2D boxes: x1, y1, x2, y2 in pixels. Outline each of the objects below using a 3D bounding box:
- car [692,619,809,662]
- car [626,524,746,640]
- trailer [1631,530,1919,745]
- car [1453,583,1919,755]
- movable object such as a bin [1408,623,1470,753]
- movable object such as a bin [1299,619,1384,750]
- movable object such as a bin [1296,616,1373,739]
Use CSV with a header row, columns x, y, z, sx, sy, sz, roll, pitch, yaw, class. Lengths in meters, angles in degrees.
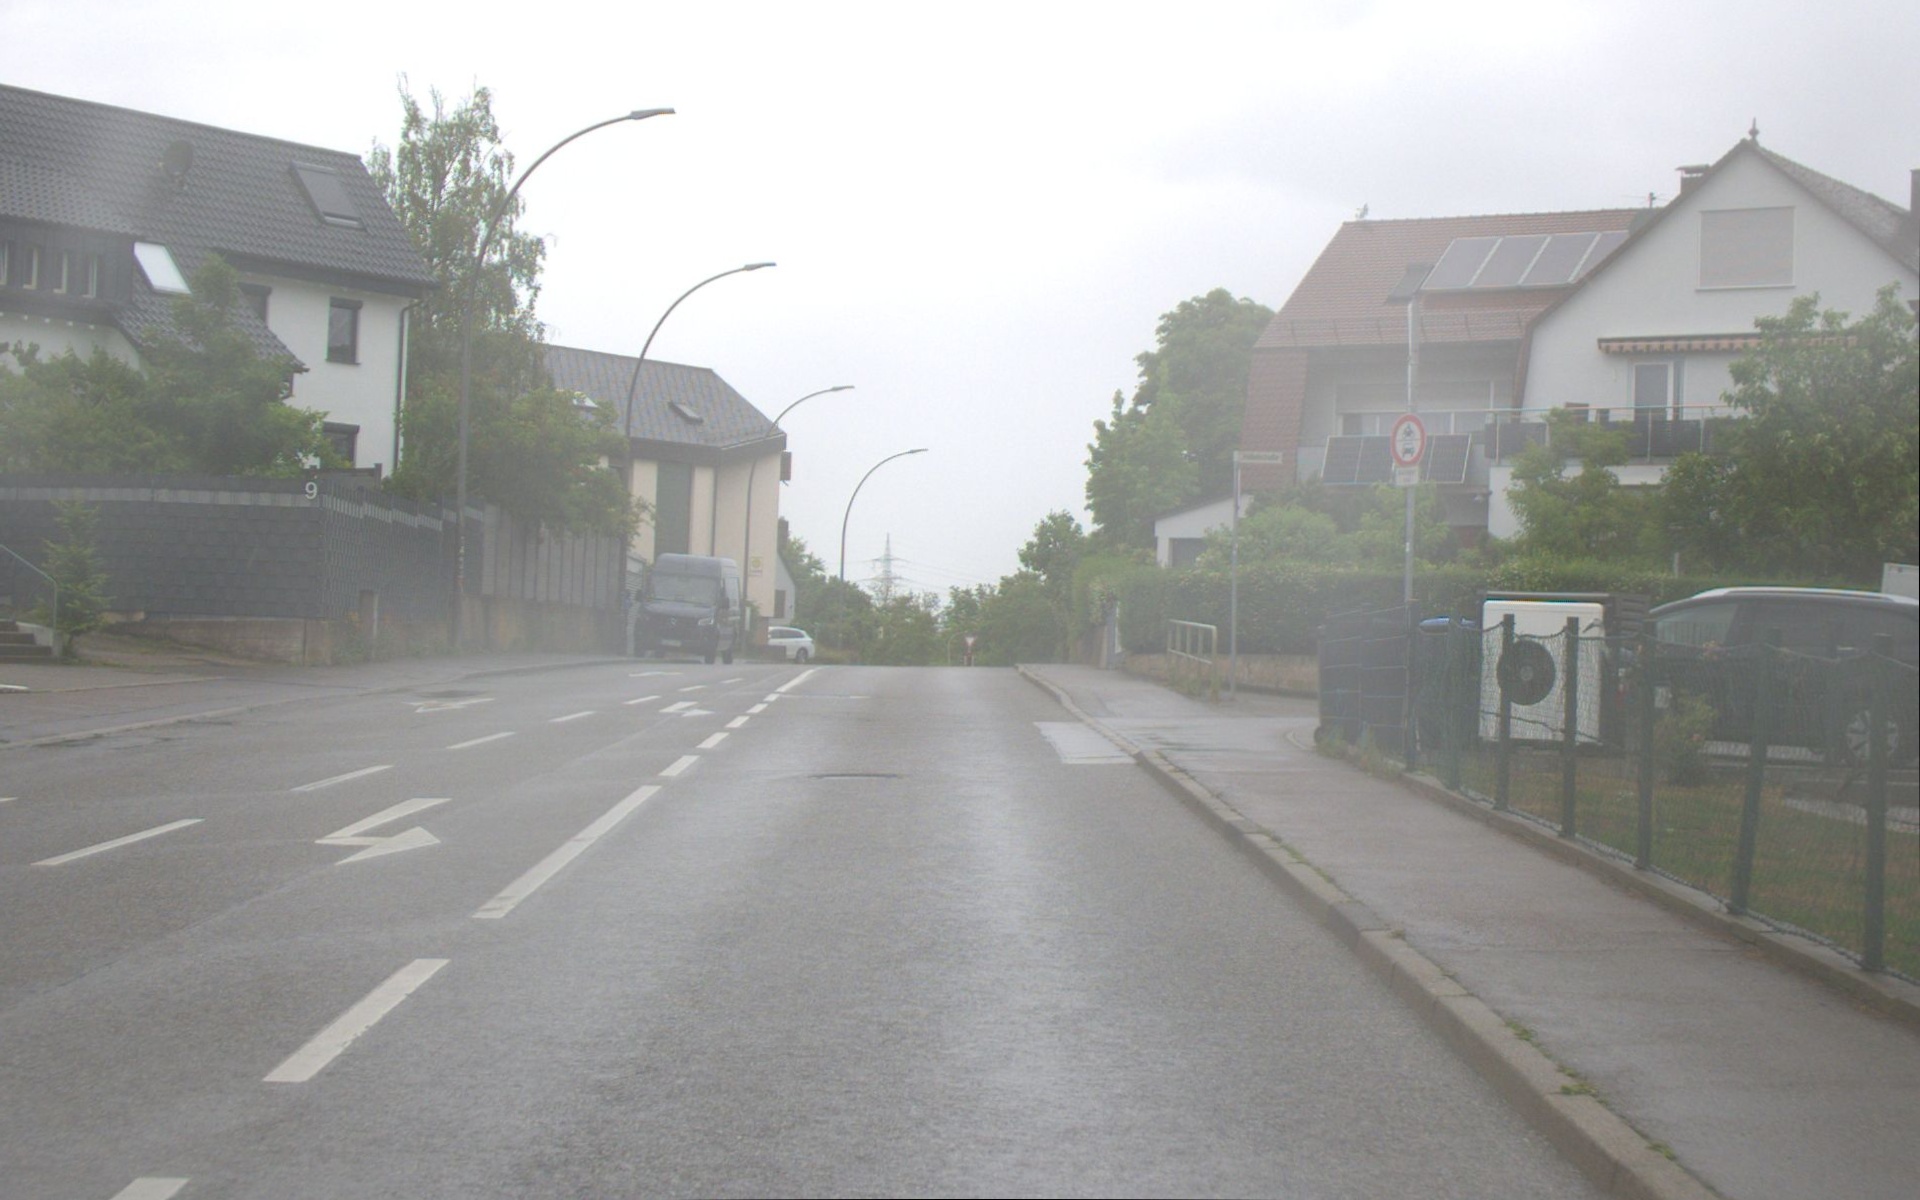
x,y,z,sx,sy,sz,roll,pitch,yaw,class
-8.320,1.621,137.061,1.905,1.472,4.871,3,-1,37,car
-6.712,-0.403,84.966,2.094,2.640,5.917,3,-1,3,car
8.437,0.379,32.830,3.460,1.792,1.684,5,1,37,trailer
6.754,0.568,30.108,4.561,1.379,1.998,0,2,17,car
3.813,0.694,27.355,0.443,1.018,0.524,0,0,12,movable object such as a bin
3.075,0.672,27.659,0.530,1.018,0.732,0,0,19,movable object such as a bin
3.169,0.652,29.134,0.627,1.018,0.540,0,0,5,movable object such as a bin
